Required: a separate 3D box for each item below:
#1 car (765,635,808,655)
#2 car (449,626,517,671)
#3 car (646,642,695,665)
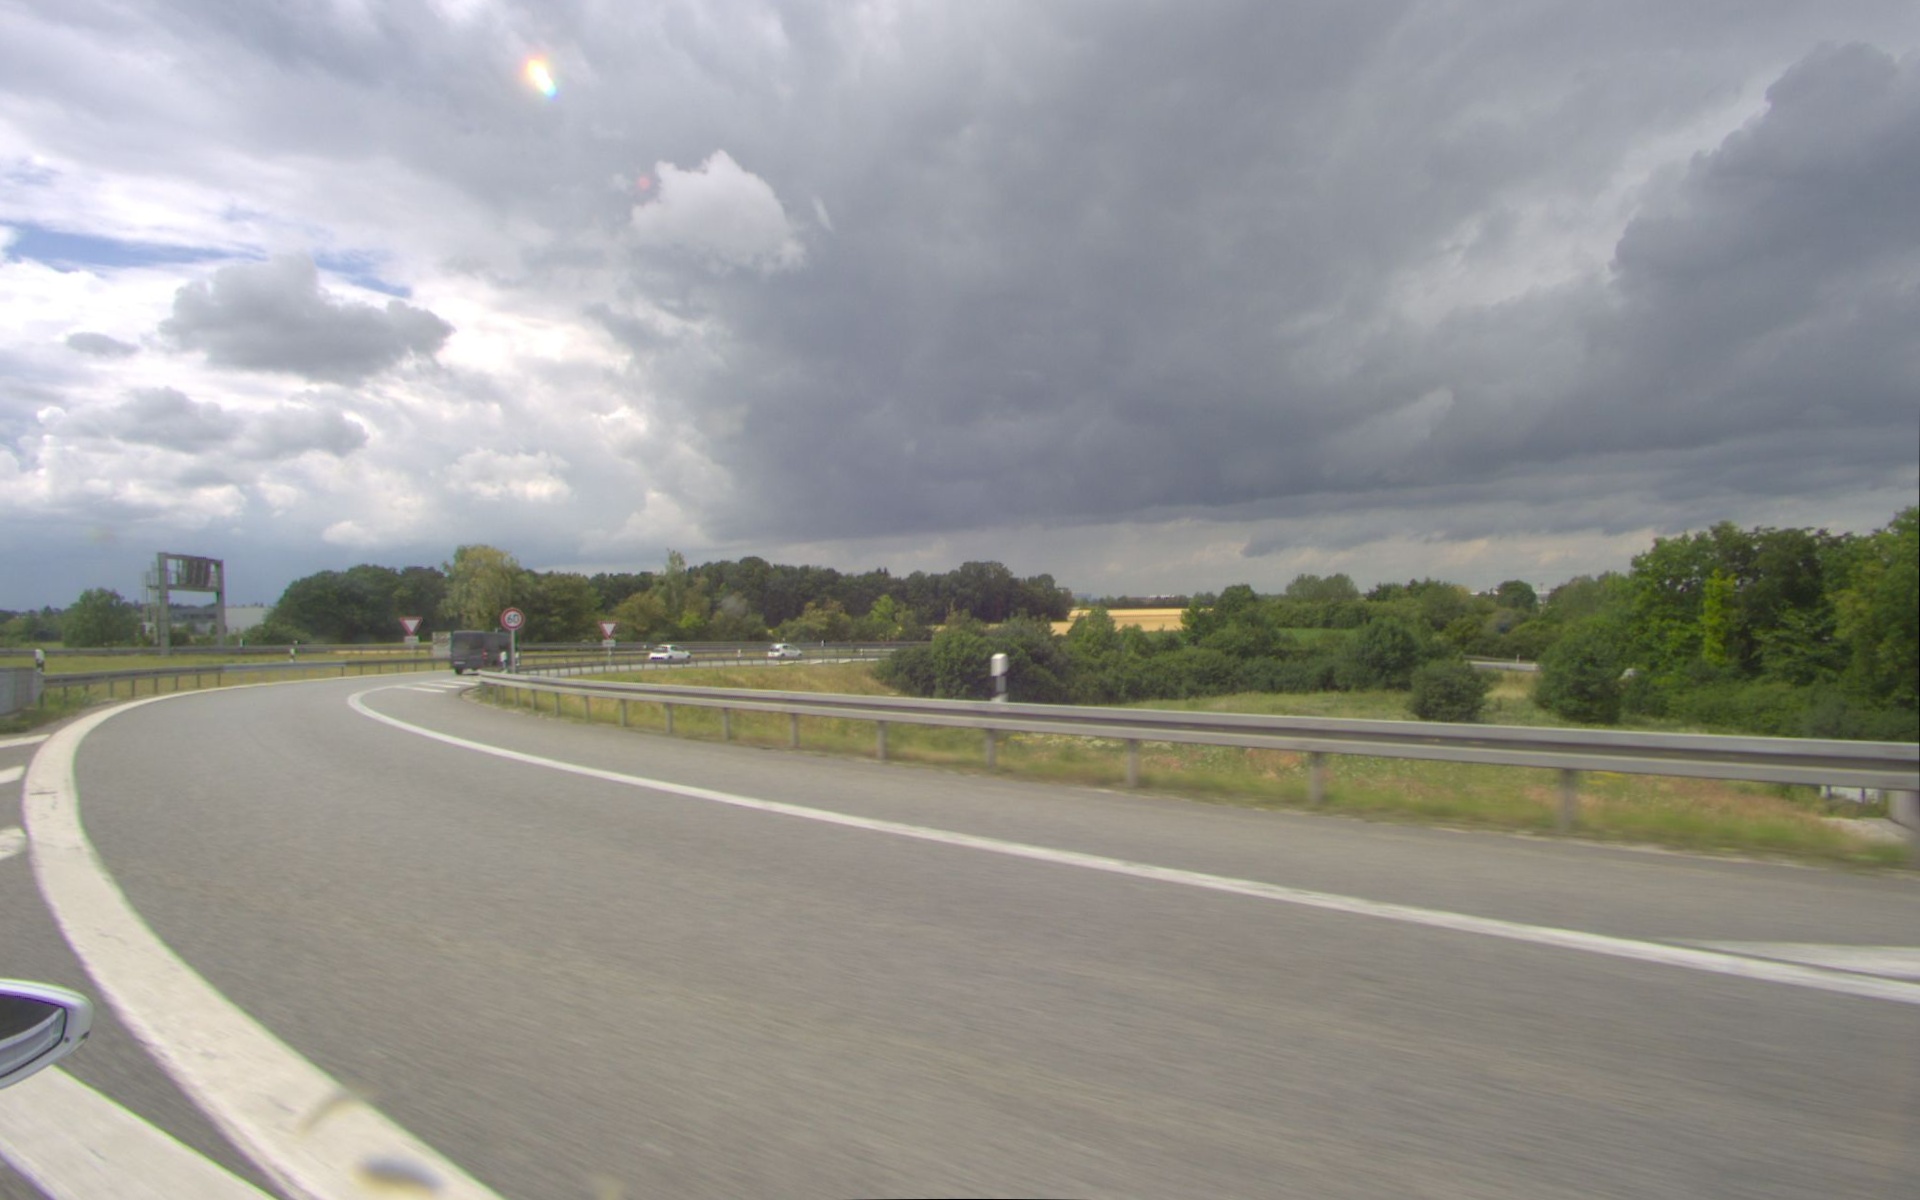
[{"bbox_3d":[-16.486,4.256,95.261,1.969,1.731,3.985,0,-1,28],"label":"car"},{"bbox_3d":[-26.100,2.611,54.951,1.876,2.291,4.649,1,-1,-6],"label":"car"},{"bbox_3d":[-23.527,4.309,81.425,1.964,1.731,3.995,0,-1,18],"label":"car"}]
